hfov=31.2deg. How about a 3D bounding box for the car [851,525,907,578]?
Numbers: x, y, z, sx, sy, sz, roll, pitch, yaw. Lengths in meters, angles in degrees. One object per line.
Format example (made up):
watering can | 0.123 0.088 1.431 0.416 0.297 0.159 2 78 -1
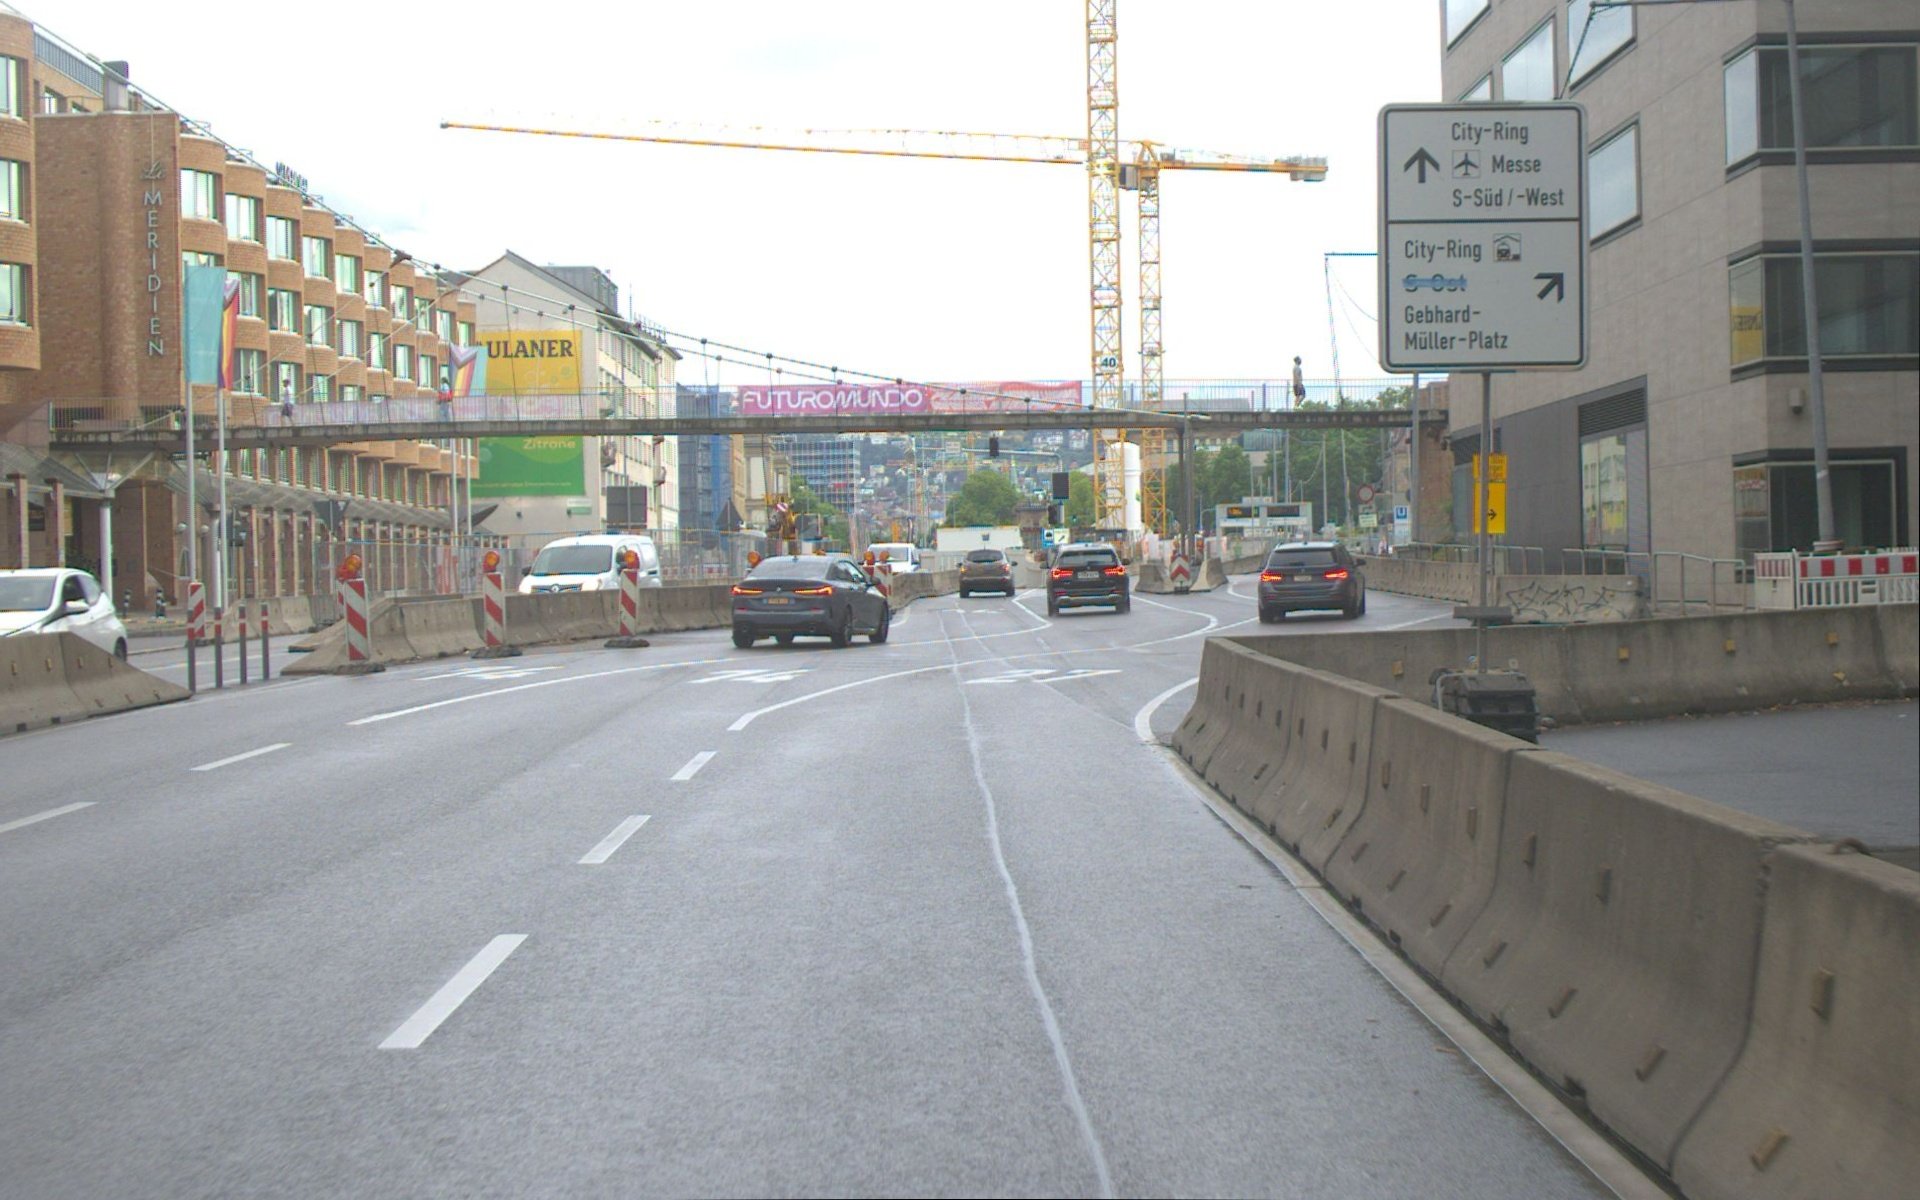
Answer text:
car | -2.988 -1.804 127.063 1.993 1.878 4.870 -1 1 -1

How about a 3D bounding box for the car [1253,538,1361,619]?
car | 6.553 -0.429 64.633 1.863 1.428 4.655 -1 1 8

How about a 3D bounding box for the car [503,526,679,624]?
car | -6.955 -0.509 65.365 1.887 1.777 4.874 -1 1 12

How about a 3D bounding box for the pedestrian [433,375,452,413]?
pedestrian | -16.804 -6.687 111.565 0.475 1.190 0.484 -2 1 4

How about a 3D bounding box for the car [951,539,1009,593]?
car | 0.666 -1.177 116.168 1.863 1.759 4.656 -1 1 -1

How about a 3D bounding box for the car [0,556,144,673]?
car | -10.598 0.144 38.886 1.612 1.227 3.726 -1 1 4

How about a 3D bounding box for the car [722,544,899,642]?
car | -2.317 -0.144 54.526 1.863 1.438 4.654 -1 1 10

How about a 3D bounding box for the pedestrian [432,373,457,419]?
pedestrian | -16.744 -6.613 111.654 0.620 1.447 0.618 -2 1 4

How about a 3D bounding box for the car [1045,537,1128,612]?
car | 2.940 -0.617 80.248 1.863 1.655 4.656 -1 1 2
